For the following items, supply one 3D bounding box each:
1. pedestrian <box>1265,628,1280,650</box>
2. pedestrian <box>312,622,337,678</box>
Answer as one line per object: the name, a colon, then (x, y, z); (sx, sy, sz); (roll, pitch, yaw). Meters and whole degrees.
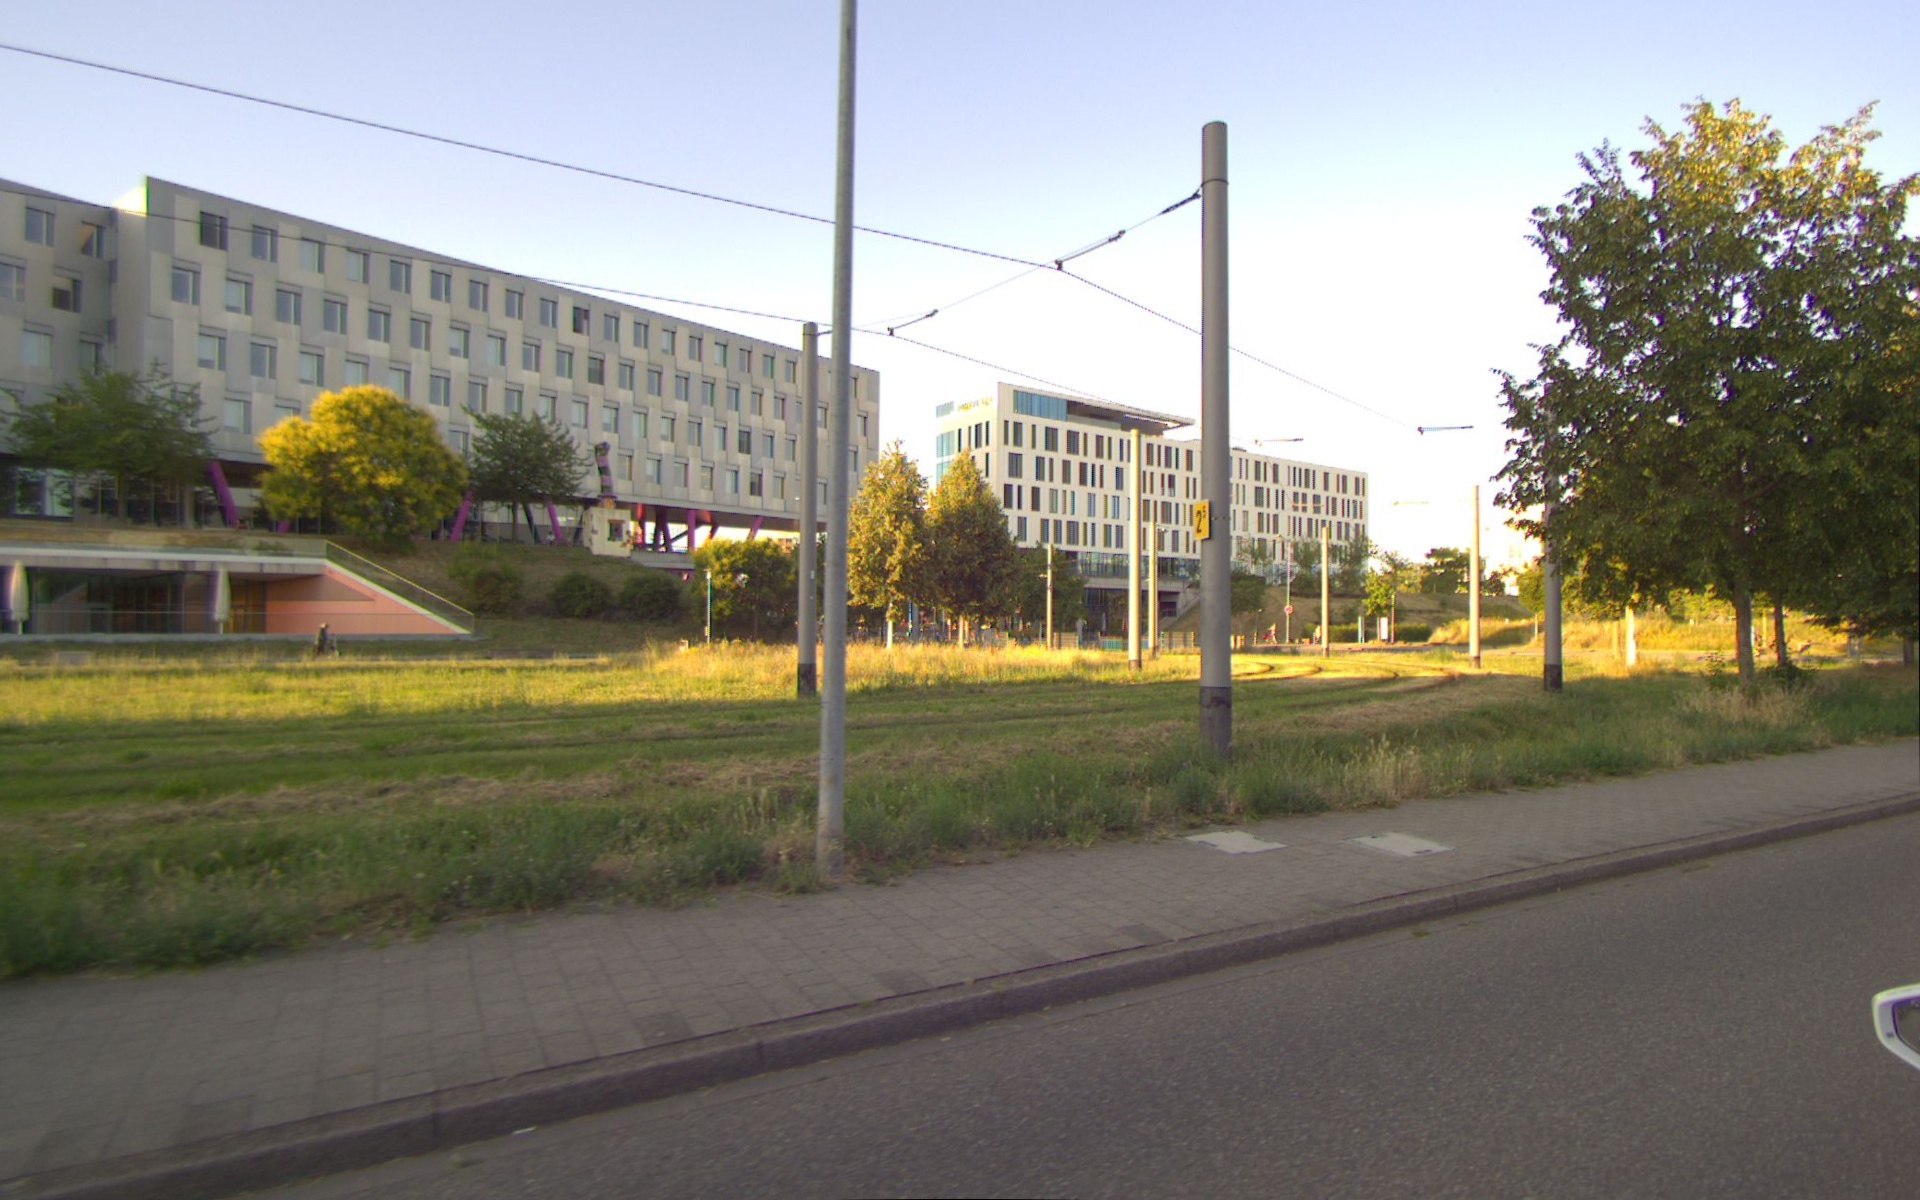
pedestrian: (25.551, 3.172, 82.169); (0.803, 1.810, 0.784); (1, -1, -27)
pedestrian: (-24.369, 1.911, 38.511); (0.781, 2.110, 0.613); (1, 1, -31)
